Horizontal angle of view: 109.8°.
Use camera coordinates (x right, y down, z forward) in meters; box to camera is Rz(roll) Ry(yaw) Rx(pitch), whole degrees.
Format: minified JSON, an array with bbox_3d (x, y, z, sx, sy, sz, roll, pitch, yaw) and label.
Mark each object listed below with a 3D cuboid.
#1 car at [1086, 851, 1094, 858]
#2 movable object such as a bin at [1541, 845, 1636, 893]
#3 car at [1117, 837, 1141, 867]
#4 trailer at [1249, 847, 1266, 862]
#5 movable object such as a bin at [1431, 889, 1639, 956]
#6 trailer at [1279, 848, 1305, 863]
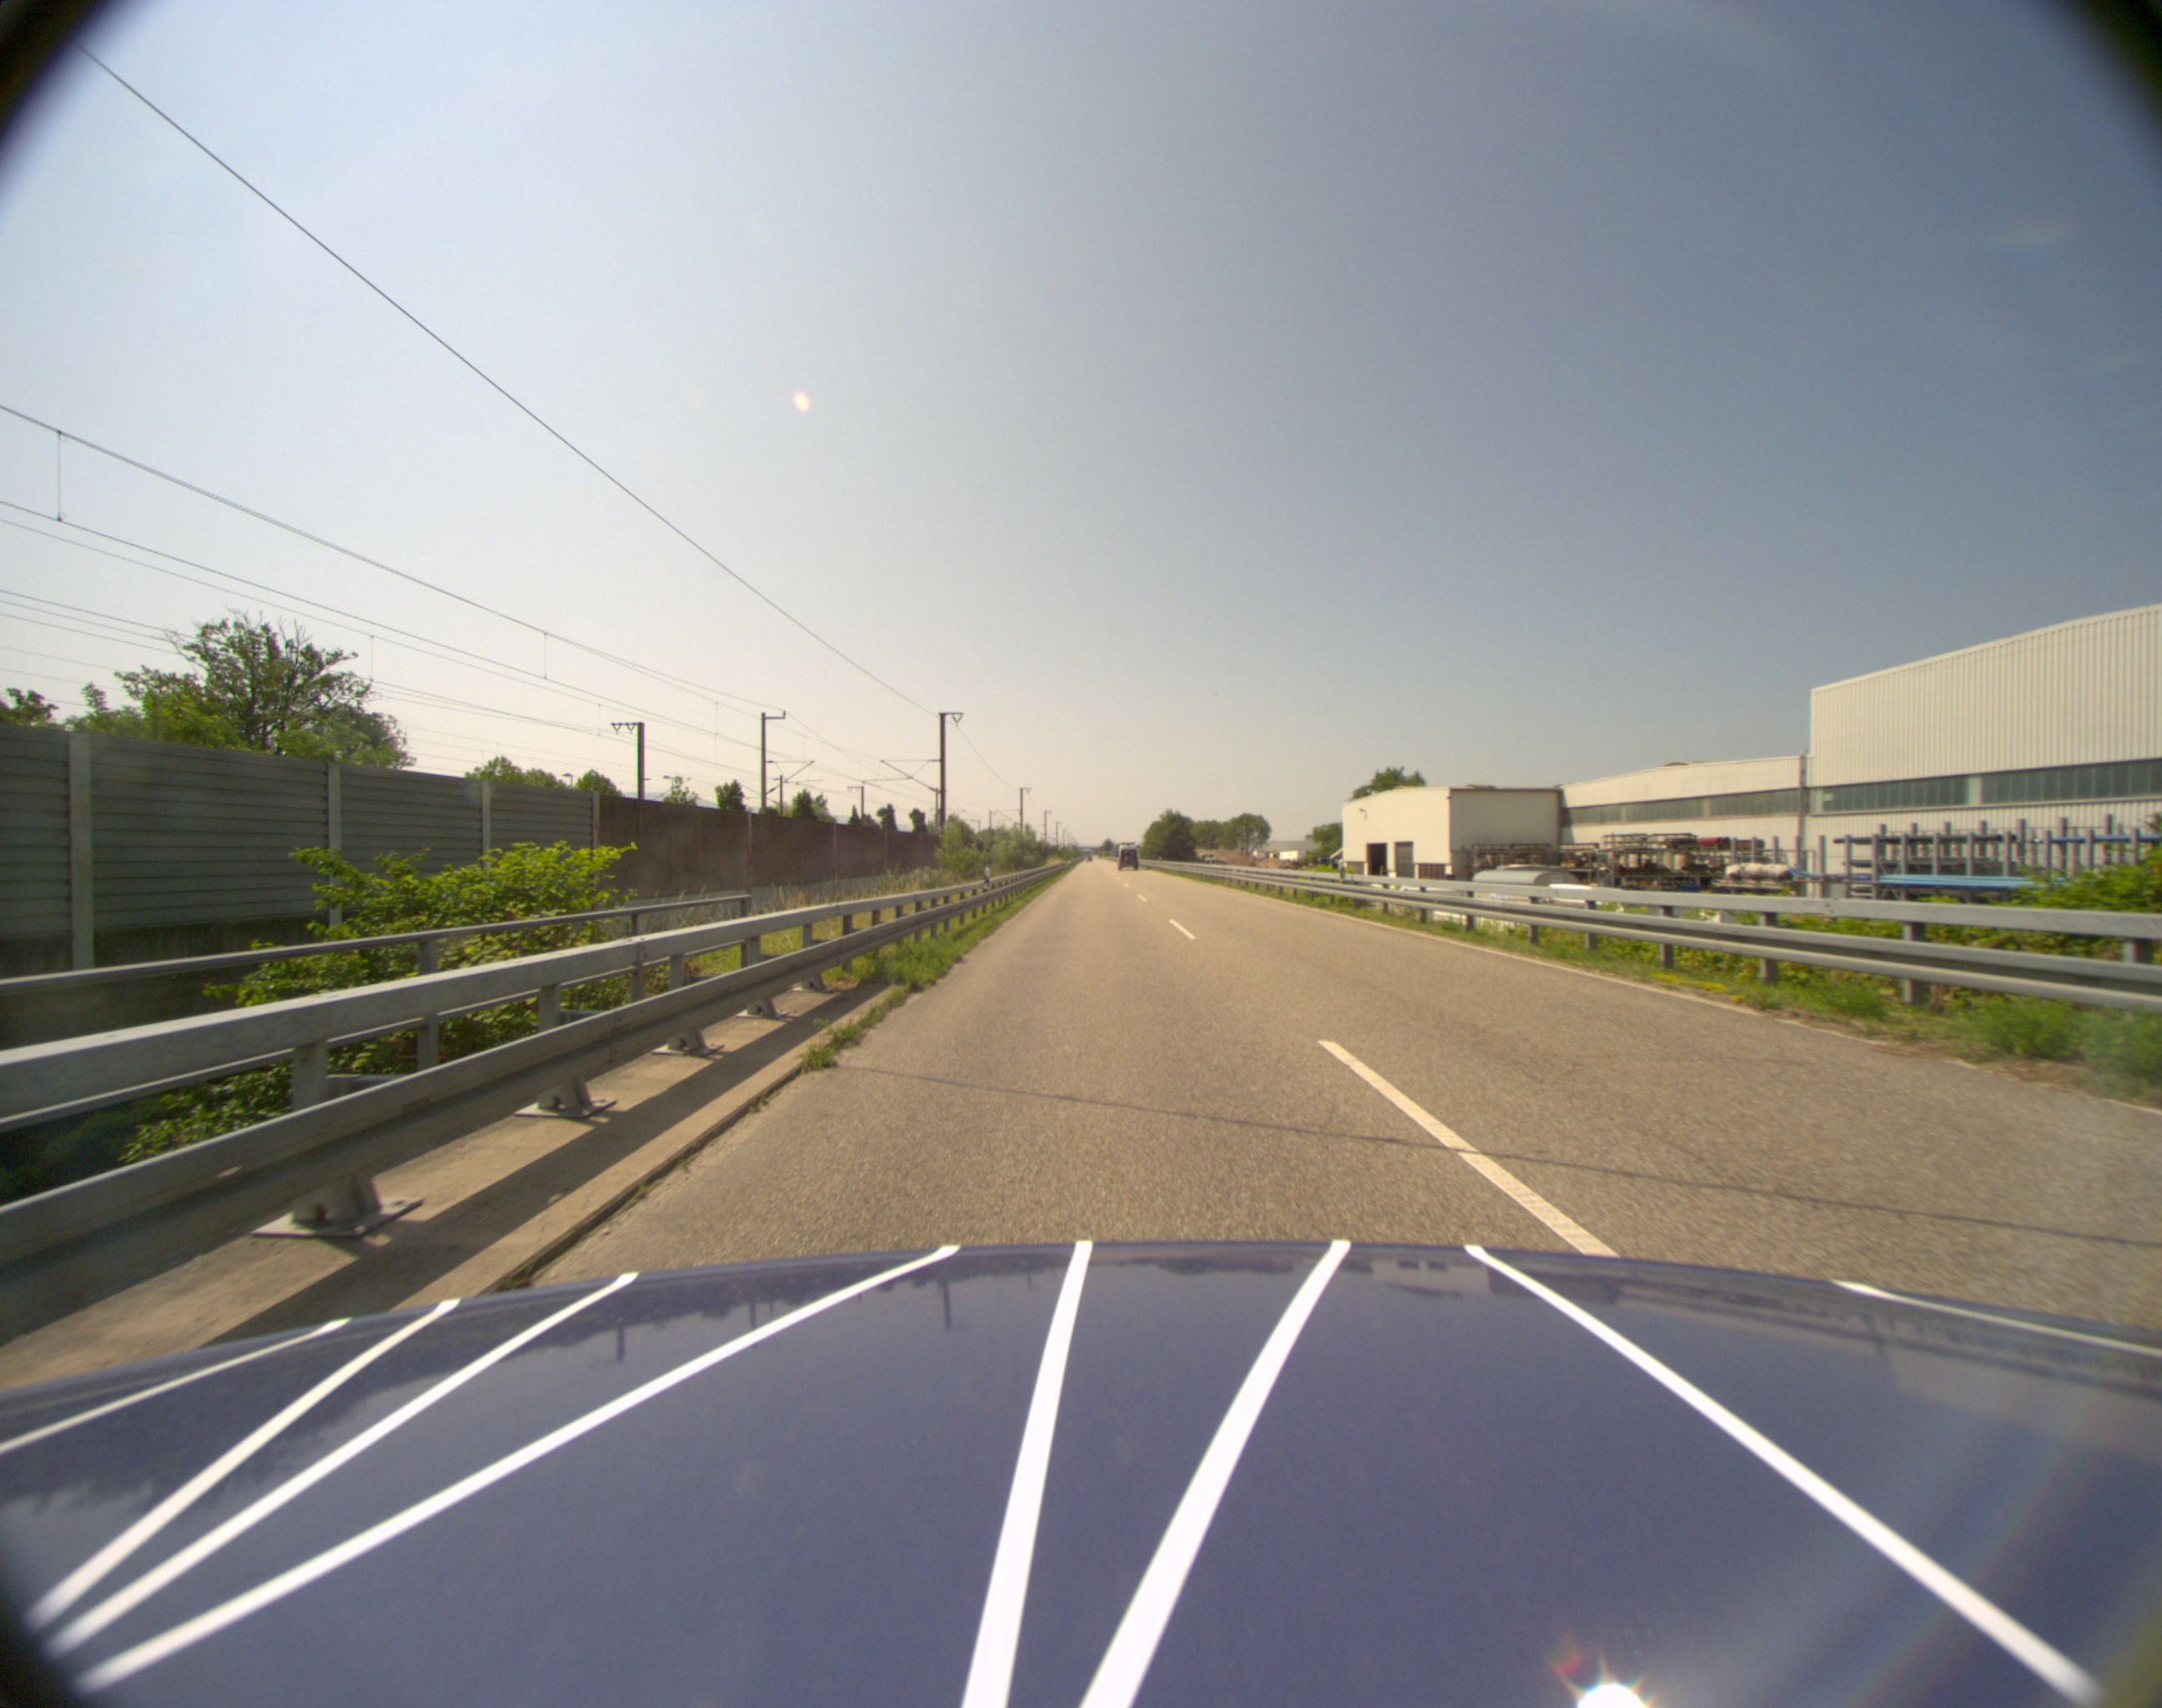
[{"bbox_3d":[2.355,0.163,207.992,1.999,2.002,3.999,-2,0,-1],"label":"car"},{"bbox_3d":[32.060,0.939,48.045,4.557,2.665,2.132,4,0,-7],"label":"movable object such as a bin"},{"bbox_3d":[5.000,-0.180,79.694,2.084,2.945,6.729,-2,0,1],"label":"car"},{"bbox_3d":[51.211,0.164,220.451,2.862,4.193,7.538,-1,-1,-2],"label":"trailer"},{"bbox_3d":[15.809,2.359,26.694,5.912,2.007,2.449,2,0,-5],"label":"movable object such as a bin"},{"bbox_3d":[62.368,0.450,225.131,2.704,4.235,15.581,-1,-1,-3],"label":"trailer"}]
